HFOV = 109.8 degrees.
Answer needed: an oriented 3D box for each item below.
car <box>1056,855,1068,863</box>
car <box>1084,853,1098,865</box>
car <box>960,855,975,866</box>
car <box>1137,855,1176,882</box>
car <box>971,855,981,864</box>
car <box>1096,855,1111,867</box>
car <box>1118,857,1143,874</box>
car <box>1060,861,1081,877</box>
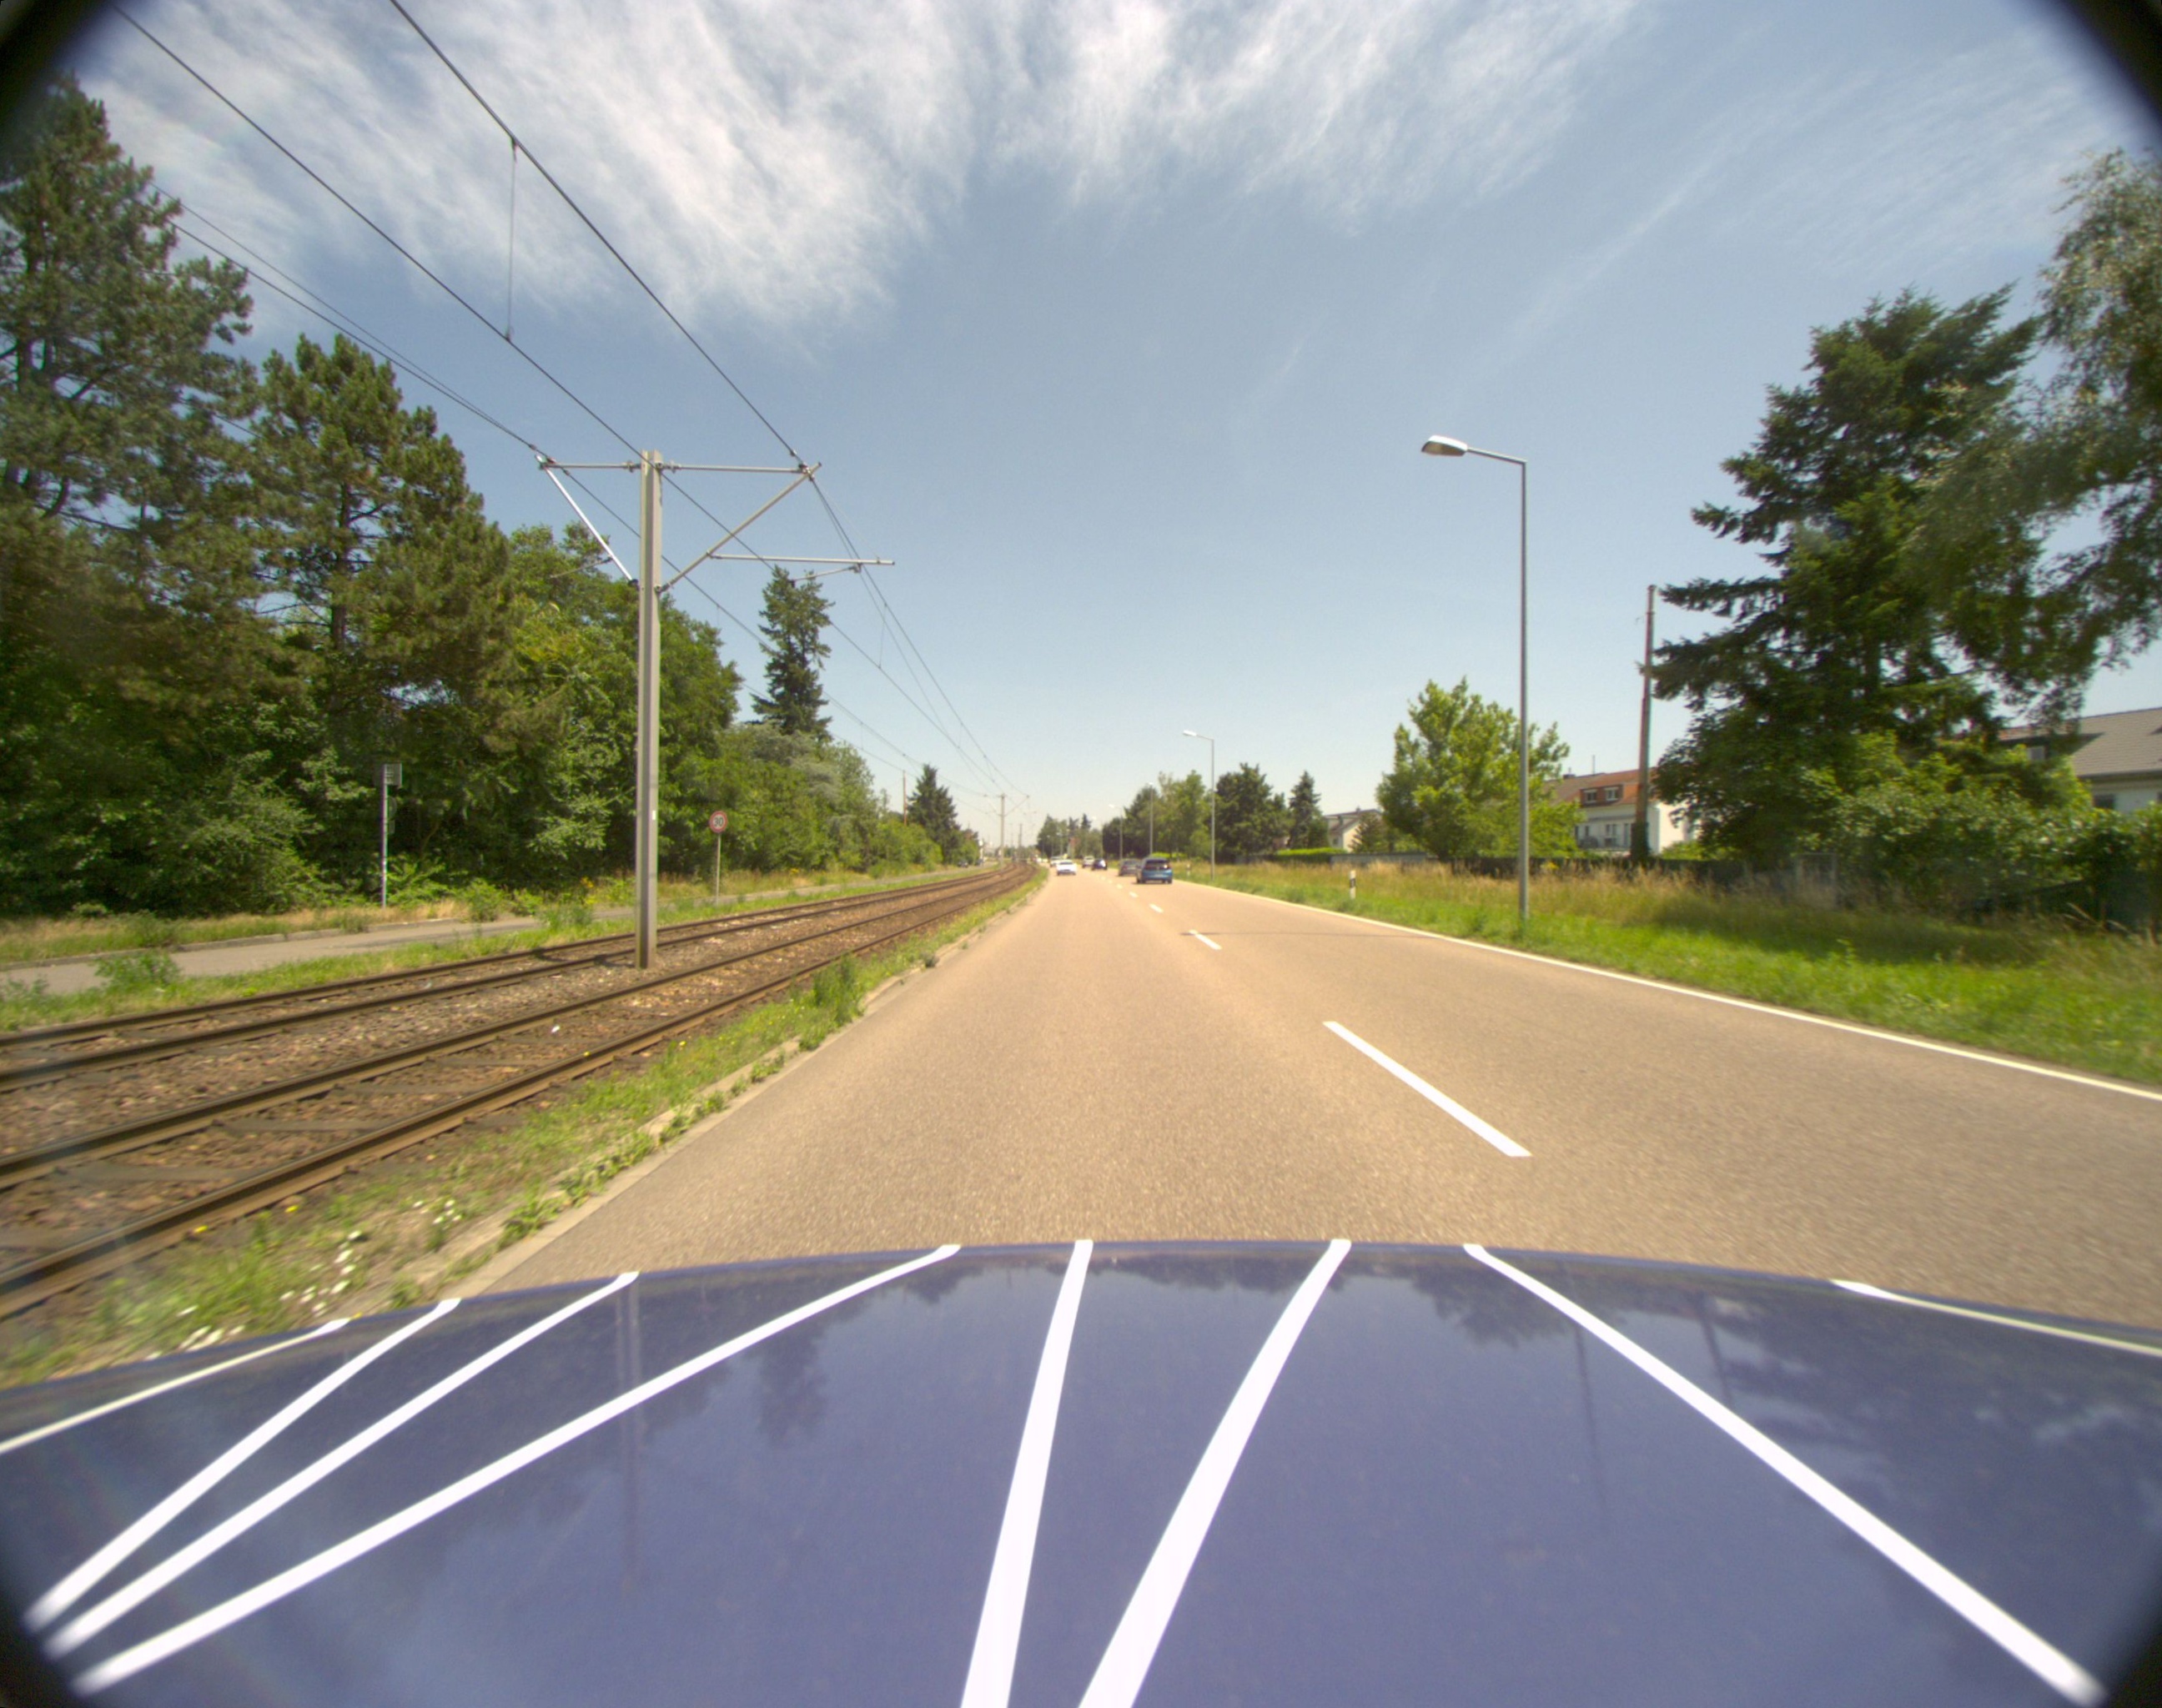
[{"bbox_3d":[-3.475,0.874,137.934,1.892,1.456,3.998,0,0,-5],"label":"car"},{"bbox_3d":[1.487,0.785,113.650,1.844,1.749,4.931,0,0,-1],"label":"car"},{"bbox_3d":[-19.923,1.078,133.063,1.999,1.710,3.999,-2,1,-1],"label":"car"},{"bbox_3d":[4.405,0.840,44.942,1.820,1.496,3.999,-1,0,-1],"label":"car"},{"bbox_3d":[-22.409,1.138,162.713,1.947,1.685,3.998,-3,1,-5],"label":"car"},{"bbox_3d":[2.803,0.880,95.140,1.740,1.487,4.829,0,0,-1],"label":"car"},{"bbox_3d":[4.098,0.942,63.866,1.761,1.414,4.323,-1,0,-1],"label":"car"},{"bbox_3d":[-1.046,1.435,73.734,1.955,1.467,4.361,0,0,-1],"label":"car"}]
